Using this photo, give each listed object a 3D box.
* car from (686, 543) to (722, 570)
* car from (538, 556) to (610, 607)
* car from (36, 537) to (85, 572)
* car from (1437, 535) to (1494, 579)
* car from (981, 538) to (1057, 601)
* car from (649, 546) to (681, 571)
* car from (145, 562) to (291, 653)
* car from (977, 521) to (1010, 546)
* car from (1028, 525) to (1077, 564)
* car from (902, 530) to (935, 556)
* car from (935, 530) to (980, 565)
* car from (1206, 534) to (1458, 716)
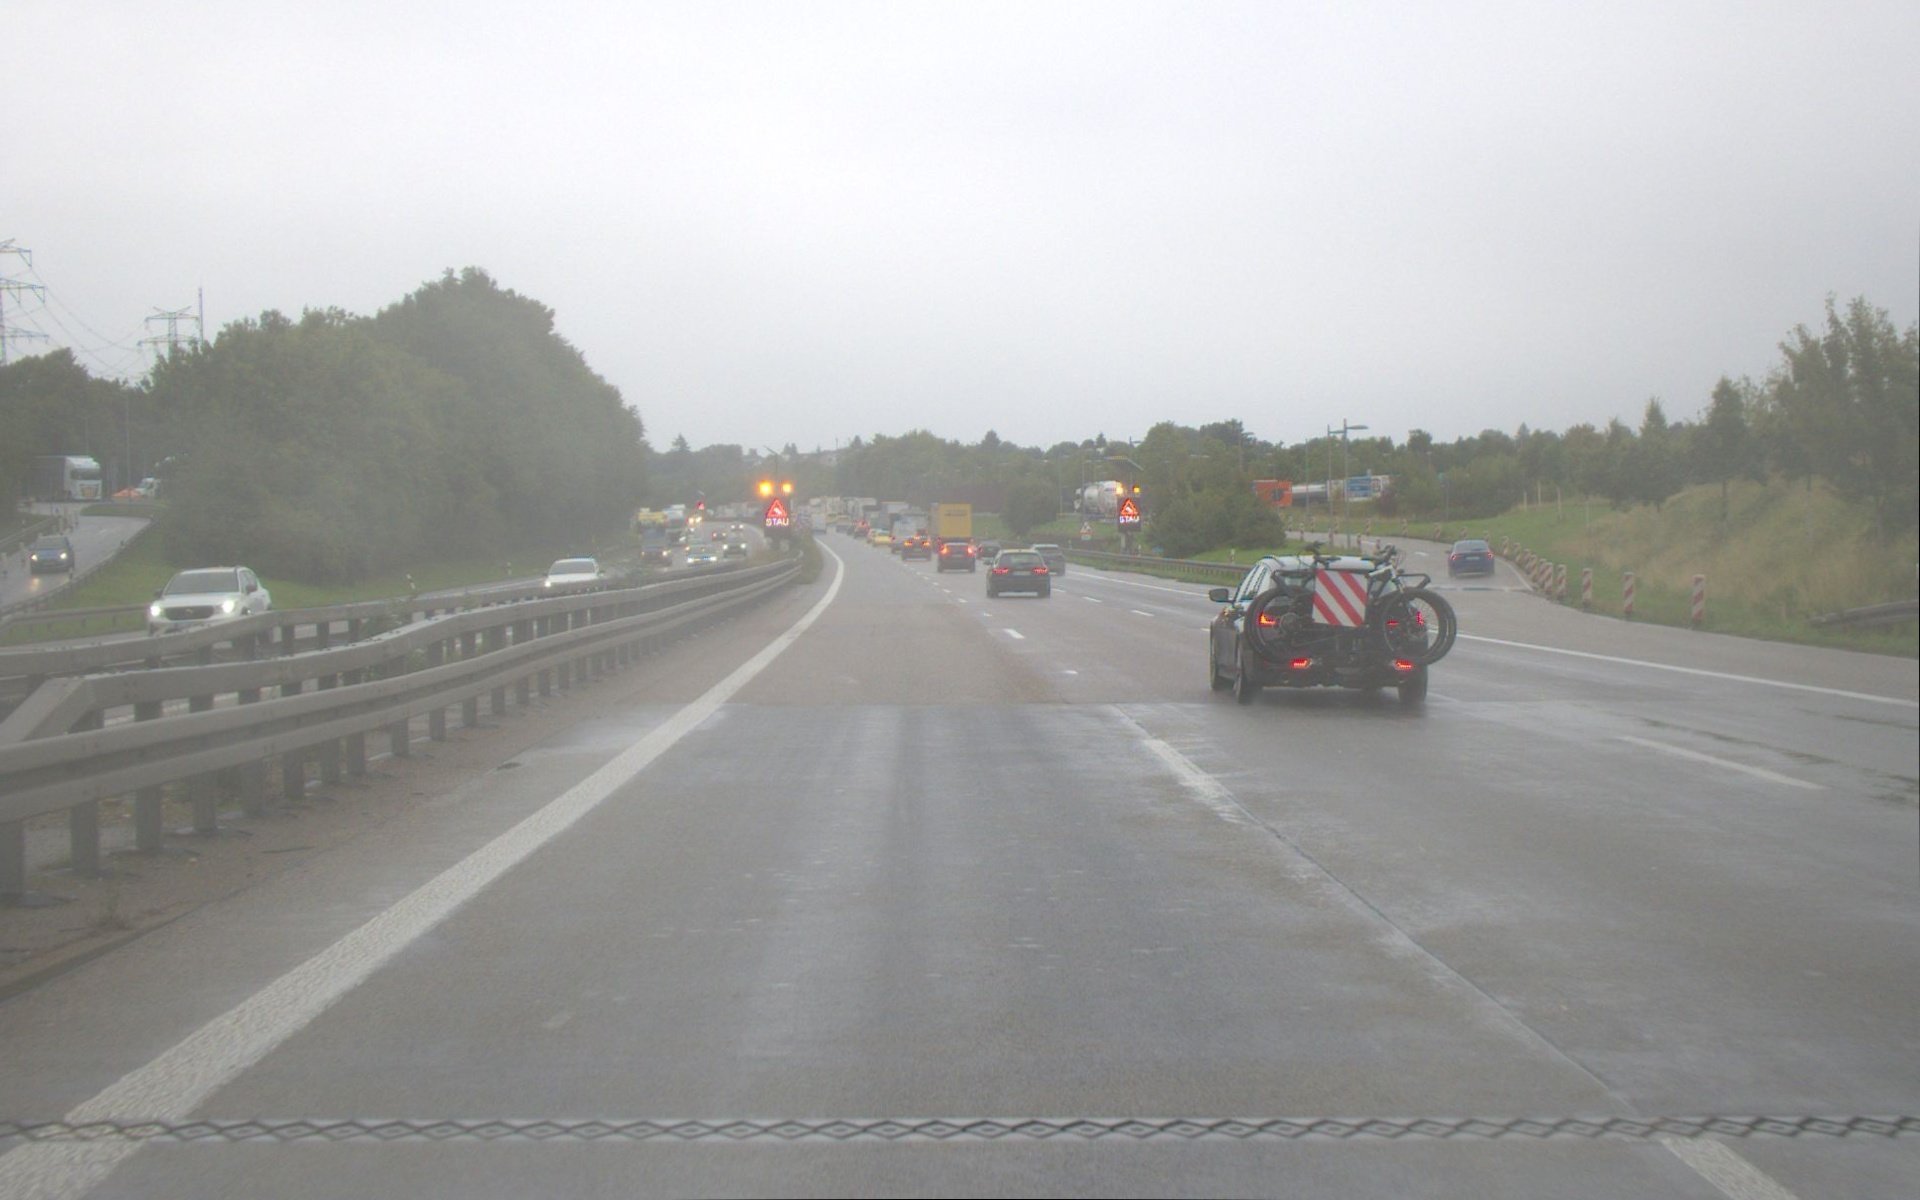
[{"bbox_3d":[-15.048,-2.589,202.536,1.822,1.507,4.791,-2,1,-1],"label":"car"},{"bbox_3d":[-12.254,-0.606,109.331,1.757,1.456,4.762,-3,1,-1],"label":"car"},{"bbox_3d":[-41.302,-2.088,157.917,1.967,1.537,4.001,-2,1,-12],"label":"car"},{"bbox_3d":[20.291,-1.736,138.145,1.922,1.703,4.000,-2,1,4],"label":"car"},{"bbox_3d":[1.743,-0.928,102.568,1.993,1.755,4.001,-2,1,-2],"label":"car"},{"bbox_3d":[-20.469,-2.914,238.607,1.822,1.618,4.791,-2,1,-1],"label":"car"},{"bbox_3d":[-14.673,0.125,68.191,1.904,1.659,4.714,-2,1,-1],"label":"car"},{"bbox_3d":[2.285,-4.554,234.016,1.993,1.623,4.001,-2,1,-2],"label":"car"},{"bbox_3d":[4.285,-2.605,159.615,1.993,1.755,4.001,1,1,-2],"label":"car"},{"bbox_3d":[-2.773,-3.768,227.657,1.993,1.623,4.001,-2,1,-2],"label":"car"},{"bbox_3d":[-0.140,-2.631,171.421,1.993,1.623,4.001,-2,1,-2],"label":"car"},{"bbox_3d":[3.599,0.212,34.169,2.058,1.665,5.521,0,0,2],"label":"car"}]
